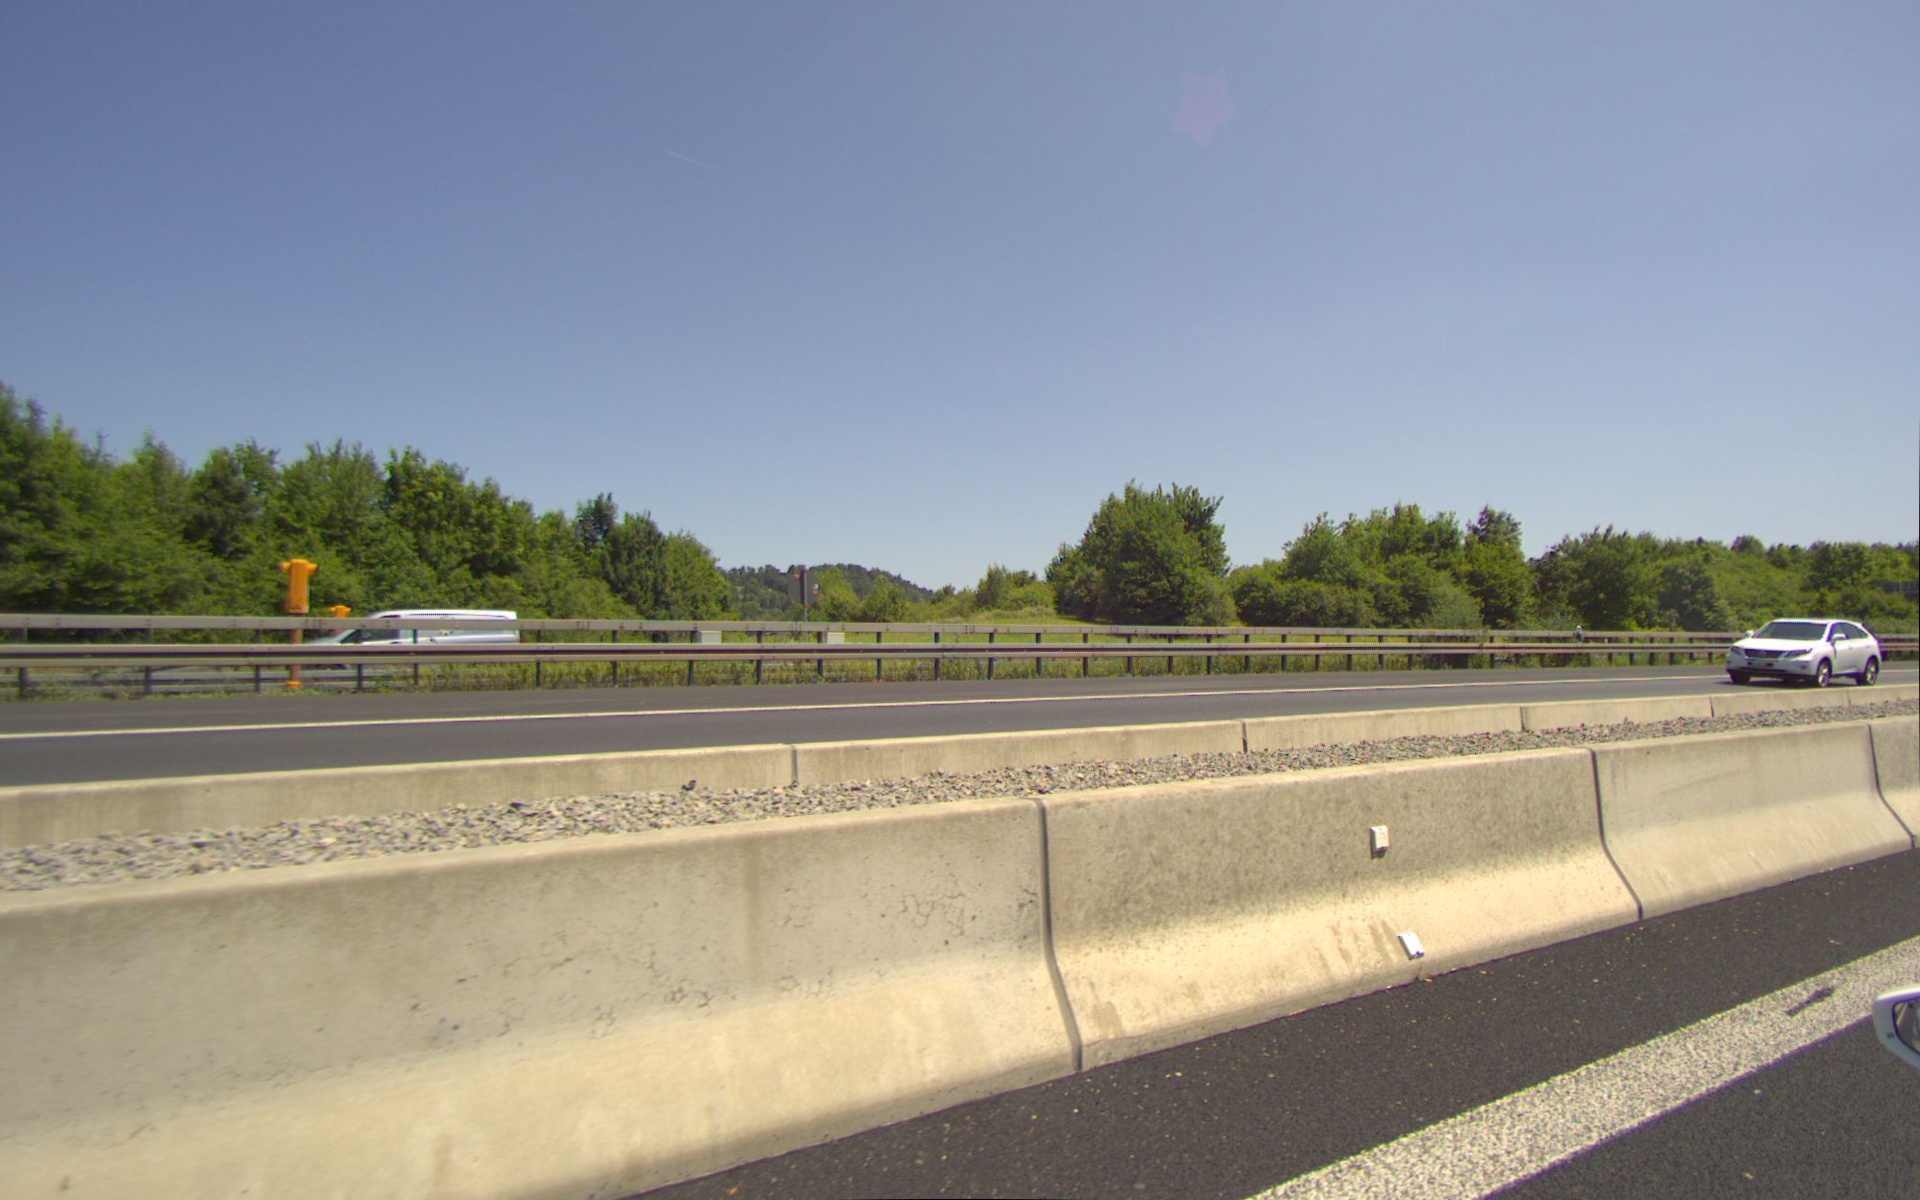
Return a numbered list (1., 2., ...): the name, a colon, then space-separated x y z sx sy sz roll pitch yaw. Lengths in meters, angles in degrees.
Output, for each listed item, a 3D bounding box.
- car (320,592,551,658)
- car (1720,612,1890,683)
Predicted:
1. car: -12.718 0.644 24.574 4.812 1.478 1.984 2 -1 -30
2. car: 21.787 1.192 25.847 4.871 1.654 1.779 1 0 -30
